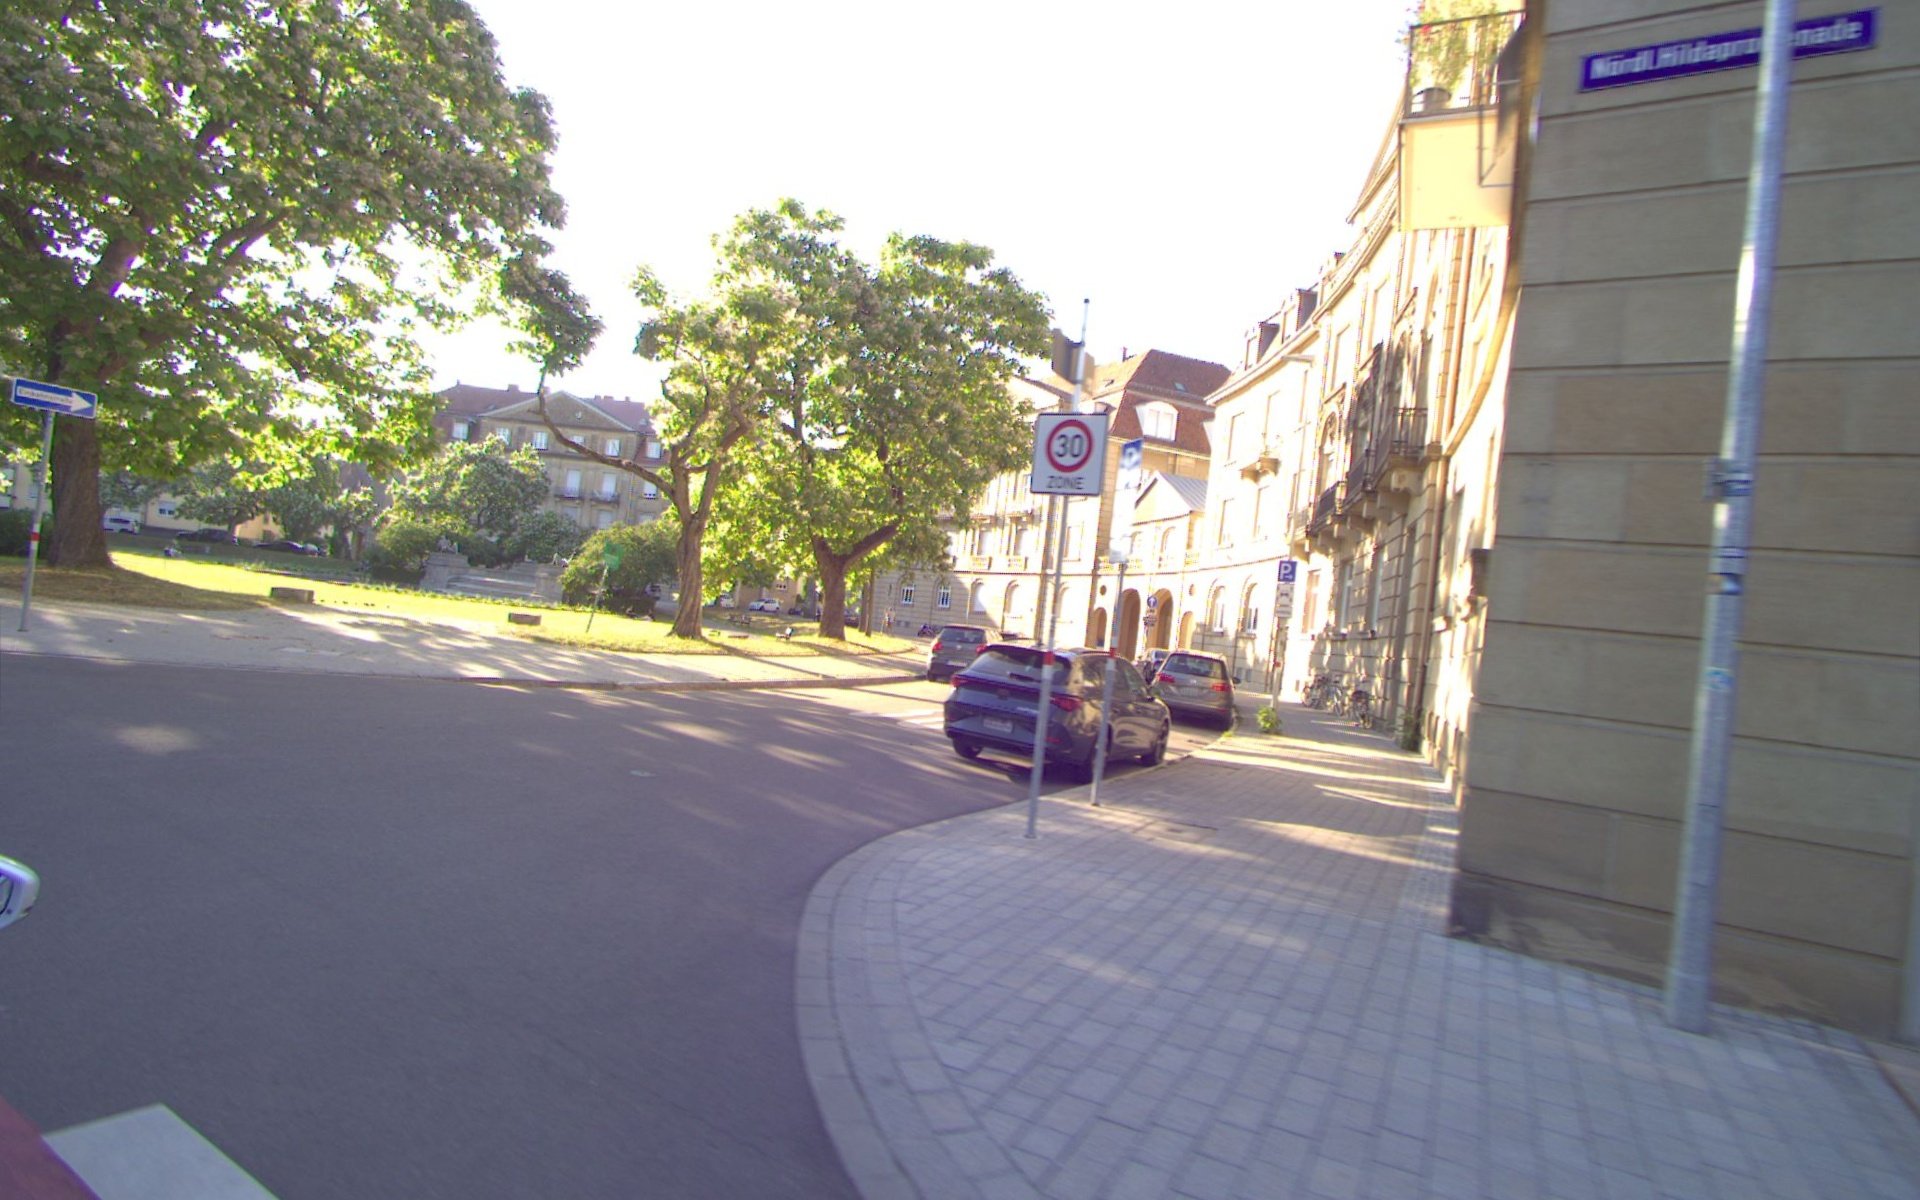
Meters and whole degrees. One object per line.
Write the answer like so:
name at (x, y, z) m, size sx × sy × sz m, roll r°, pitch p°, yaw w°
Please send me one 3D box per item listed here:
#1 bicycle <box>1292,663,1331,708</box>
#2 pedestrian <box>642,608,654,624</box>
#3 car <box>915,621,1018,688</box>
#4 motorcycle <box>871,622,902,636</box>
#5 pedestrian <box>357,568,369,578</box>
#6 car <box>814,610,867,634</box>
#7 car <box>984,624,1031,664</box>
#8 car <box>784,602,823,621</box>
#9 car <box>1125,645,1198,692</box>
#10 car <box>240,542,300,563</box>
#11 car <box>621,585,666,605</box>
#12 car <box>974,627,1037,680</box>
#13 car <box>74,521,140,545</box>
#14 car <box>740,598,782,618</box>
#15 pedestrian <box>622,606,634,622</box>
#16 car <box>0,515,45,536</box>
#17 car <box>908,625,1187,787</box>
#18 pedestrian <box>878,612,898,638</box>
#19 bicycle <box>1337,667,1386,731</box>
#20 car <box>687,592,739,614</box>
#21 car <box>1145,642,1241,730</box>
bicycle at (11.095, 2.685, 31.805) m, size 0.602 × 1.245 × 2.125 m, roll 6°, pitch -1°, yaw 7°
pedestrian at (-18.992, 0.951, 61.304) m, size 0.570 × 0.891 × 0.674 m, roll 7°, pitch -1°, yaw -21°
car at (0.270, 1.406, 26.484) m, size 1.810 × 1.434 × 4.370 m, roll 6°, pitch -1°, yaw 11°
motorcycle at (-4.589, 1.803, 62.974) m, size 1.829 × 0.679 × 0.681 m, roll 5°, pitch -1°, yaw 33°
pedestrian at (-53.076, -2.411, 89.405) m, size 0.655 × 0.804 × 0.587 m, roll 6°, pitch 0°, yaw 20°
car at (-9.103, 1.651, 76.278) m, size 1.802 × 1.434 × 4.906 m, roll 6°, pitch -1°, yaw -34°
car at (1.983, 1.854, 43.318) m, size 1.785 × 1.434 × 4.373 m, roll 6°, pitch -1°, yaw 1°
car at (-17.067, 1.294, 109.752) m, size 1.790 × 1.643 × 4.218 m, roll 5°, pitch -1°, yaw 32°
car at (7.802, 2.622, 39.435) m, size 1.786 × 1.434 × 4.651 m, roll 6°, pitch -1°, yaw 0°
car at (-67.152, -4.654, 97.946) m, size 4.291 × 1.471 × 1.879 m, roll 6°, pitch -1°, yaw -7°
car at (-29.920, -0.503, 95.036) m, size 4.028 × 1.435 × 1.816 m, roll 5°, pitch -1°, yaw 32°
car at (1.525, 1.674, 32.435) m, size 1.536 × 1.434 × 4.442 m, roll 6°, pitch -1°, yaw 8°
car at (-84.191, -6.578, 99.341) m, size 4.467 × 1.767 × 1.870 m, roll 6°, pitch -1°, yaw -25°
car at (-20.590, 0.802, 104.366) m, size 1.790 × 1.643 × 4.218 m, roll 5°, pitch -1°, yaw 32°
pedestrian at (-20.158, 0.840, 61.113) m, size 0.570 × 0.891 × 0.674 m, roll 7°, pitch -1°, yaw -21°
car at (-86.075, -6.836, 91.419) m, size 3.958 × 1.571 × 1.597 m, roll 7°, pitch -1°, yaw -32°
car at (1.308, 1.213, 12.451) m, size 1.901 × 1.436 × 4.450 m, roll 5°, pitch -1°, yaw 25°
pedestrian at (-4.501, 1.562, 62.929) m, size 0.935 × 1.493 × 0.681 m, roll 5°, pitch 0°, yaw 33°
bicycle at (9.298, 2.262, 23.392) m, size 0.602 × 1.326 × 2.259 m, roll 6°, pitch -1°, yaw 13°
car at (-21.958, 0.239, 89.428) m, size 4.877 × 1.435 × 1.813 m, roll 5°, pitch -1°, yaw 38°
car at (5.261, 1.854, 22.768) m, size 1.768 × 1.619 × 4.457 m, roll 6°, pitch -1°, yaw 13°
